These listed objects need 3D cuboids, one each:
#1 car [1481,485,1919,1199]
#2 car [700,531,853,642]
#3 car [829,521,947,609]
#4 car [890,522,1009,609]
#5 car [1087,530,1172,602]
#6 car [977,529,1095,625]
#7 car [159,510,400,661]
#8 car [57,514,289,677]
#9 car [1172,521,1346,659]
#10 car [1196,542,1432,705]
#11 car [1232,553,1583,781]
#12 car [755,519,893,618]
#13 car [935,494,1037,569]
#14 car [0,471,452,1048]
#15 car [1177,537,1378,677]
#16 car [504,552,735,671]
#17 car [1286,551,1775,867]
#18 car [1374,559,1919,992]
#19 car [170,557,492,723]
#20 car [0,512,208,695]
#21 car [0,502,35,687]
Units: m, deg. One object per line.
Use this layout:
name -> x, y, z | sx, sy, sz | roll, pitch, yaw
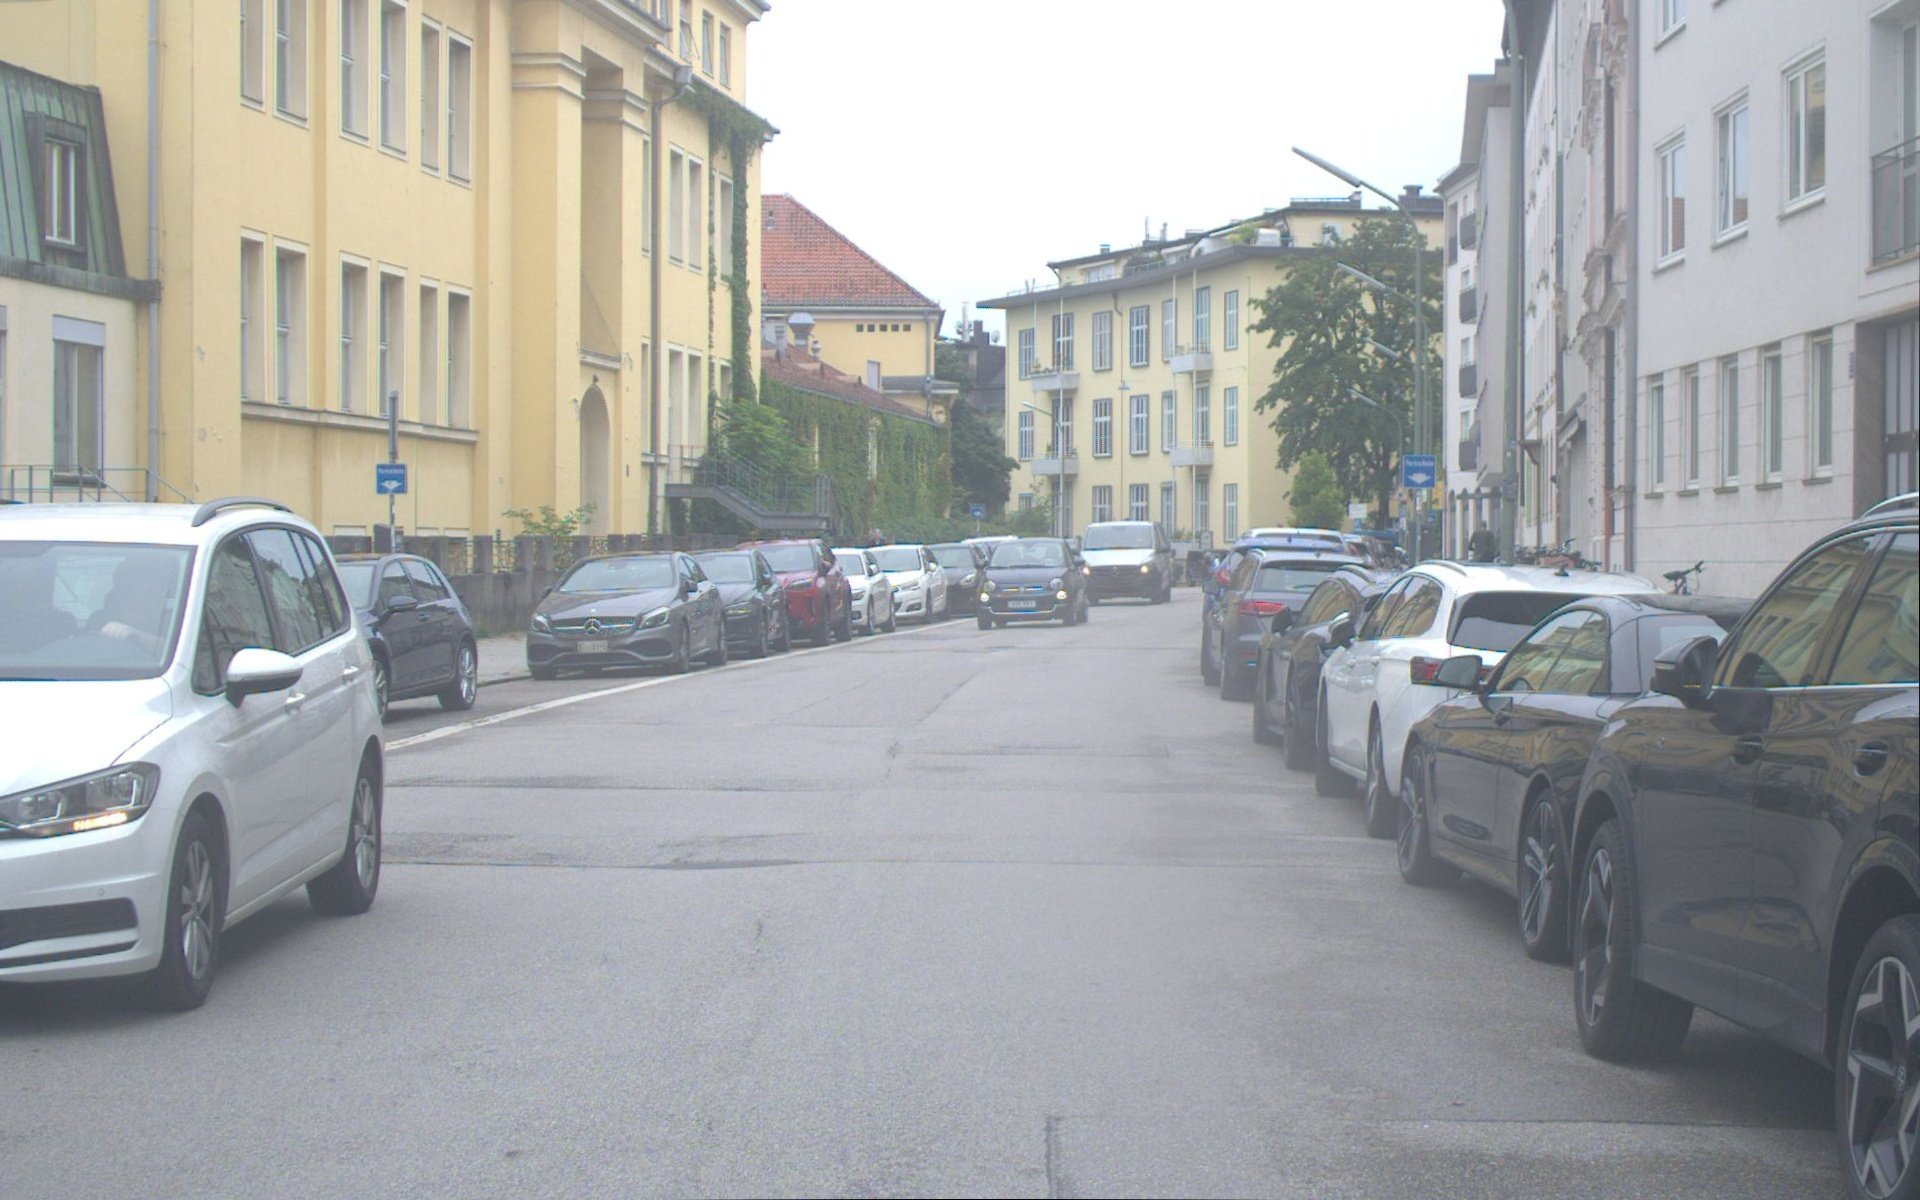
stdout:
car -> 2.713, 0.572, 8.419 | 1.964, 1.596, 4.672 | 2, 2, -2
car -> -2.628, -0.225, 49.969 | 1.698, 1.439, 3.508 | 2, 2, 5
car -> -1.288, -0.662, 62.949 | 1.698, 1.439, 3.508 | 2, 2, 6
car -> -0.171, -0.713, 68.560 | 1.994, 1.543, 4.000 | 2, 2, 4
car -> 3.781, -0.774, 76.275 | 1.698, 1.439, 3.508 | 2, 2, 5
car -> 1.297, -0.409, 57.575 | 1.698, 1.439, 3.508 | 2, 2, 5
car -> -8.244, -0.218, 41.949 | 1.720, 1.655, 3.747 | 2, 2, 8
car -> -8.745, -0.087, 38.386 | 1.606, 1.655, 2.808 | 2, 2, 8
car -> 3.793, -0.166, 44.337 | 1.887, 1.624, 4.431 | 2, 1, 1
car -> 3.392, 0.176, 33.684 | 1.887, 1.405, 4.431 | 2, 1, 1
car -> 3.115, 0.410, 24.828 | 1.887, 1.405, 4.431 | 2, 1, 0
car -> -2.165, -0.539, 55.501 | 1.698, 1.439, 3.508 | 2, 2, 6
car -> 0.618, -1.580, 78.118 | 1.994, 1.543, 4.000 | 2, 2, 4
car -> -3.232, 0.474, 11.968 | 2.026, 1.616, 4.505 | -1, 0, 3
car -> 3.500, 0.038, 38.614 | 1.887, 1.405, 4.431 | 2, 1, 1
car -> -3.923, 0.099, 40.301 | 1.900, 1.143, 4.230 | 2, 2, 5
car -> 3.045, 0.505, 19.369 | 1.887, 1.470, 4.744 | 2, 1, 0
car -> 2.938, 0.588, 13.927 | 1.887, 1.317, 4.275 | 2, 2, -1
car -> -5.358, 0.301, 29.713 | 1.529, 1.198, 3.740 | 2, 2, 9
car -> -9.138, -0.014, 34.884 | 1.720, 1.655, 3.747 | 2, 2, 8
car -> -9.933, -0.036, 30.335 | 1.994, 1.681, 3.999 | 2, 2, 8
